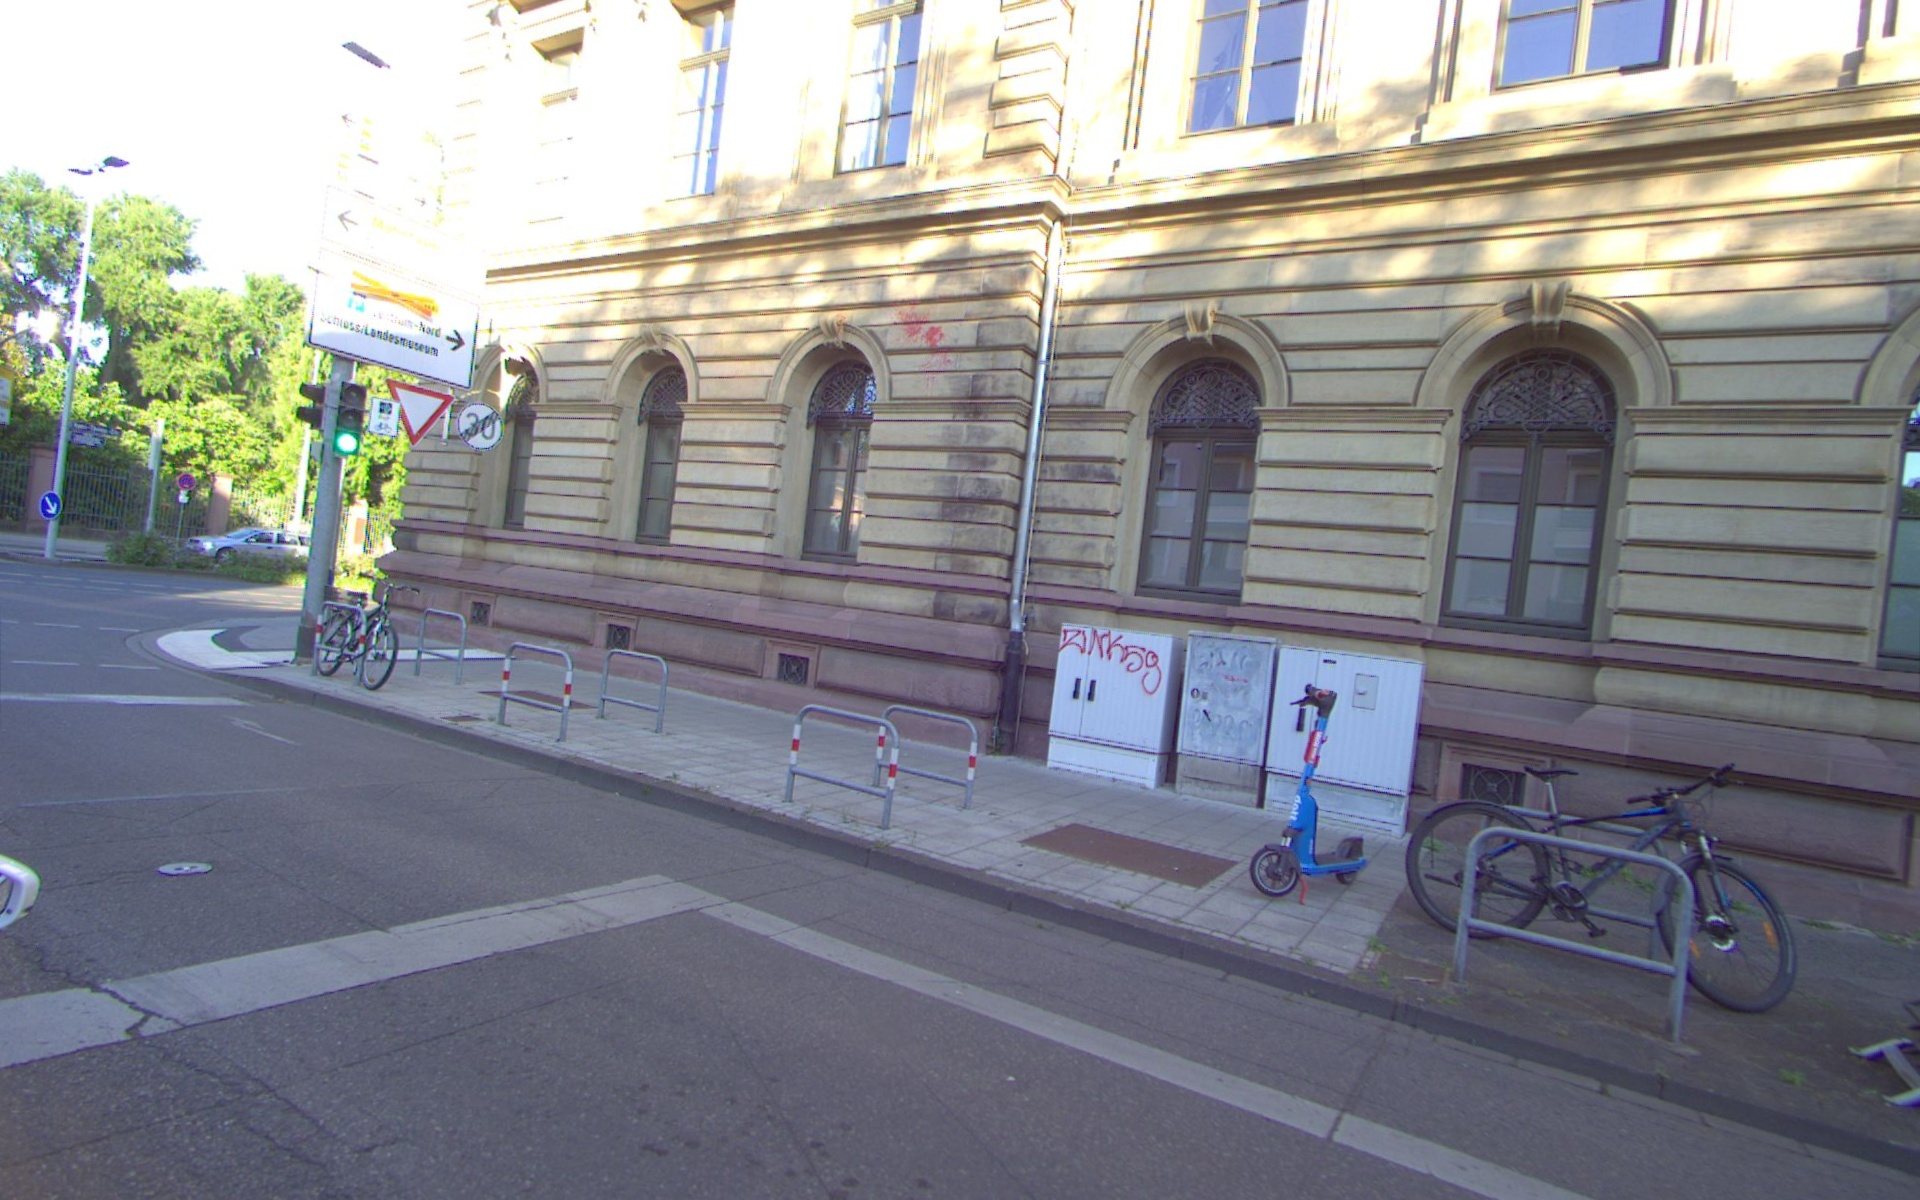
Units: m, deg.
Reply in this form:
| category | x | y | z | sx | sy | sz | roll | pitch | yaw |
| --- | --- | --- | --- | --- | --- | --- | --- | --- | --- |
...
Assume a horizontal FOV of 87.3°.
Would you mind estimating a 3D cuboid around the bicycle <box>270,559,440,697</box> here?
| category | x | y | z | sx | sy | sz | roll | pitch | yaw |
| --- | --- | --- | --- | --- | --- | --- | --- | --- | --- |
| bicycle | -6.135 | 0.264 | 10.167 | 1.889 | 1.203 | 0.583 | 5 | -1 | 32 |

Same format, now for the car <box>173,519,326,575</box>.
| category | x | y | z | sx | sy | sz | roll | pitch | yaw |
| --- | --- | --- | --- | --- | --- | --- | --- | --- | --- |
| car | -26.028 | -1.906 | 36.999 | 1.685 | 1.462 | 4.195 | 7 | -1 | 27 |

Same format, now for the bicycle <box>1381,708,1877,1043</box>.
| category | x | y | z | sx | sy | sz | roll | pitch | yaw |
| --- | --- | --- | --- | --- | --- | --- | --- | --- | --- |
| bicycle | 3.365 | 1.309 | 5.288 | 1.912 | 1.149 | 0.827 | 7 | 3 | 32 |

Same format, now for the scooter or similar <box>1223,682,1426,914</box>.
| category | x | y | z | sx | sy | sz | roll | pitch | yaw |
| --- | --- | --- | --- | --- | --- | --- | --- | --- | --- |
| scooter or similar | 2.229 | 1.143 | 6.110 | 1.124 | 1.211 | 0.577 | 4 | 2 | -41 |
